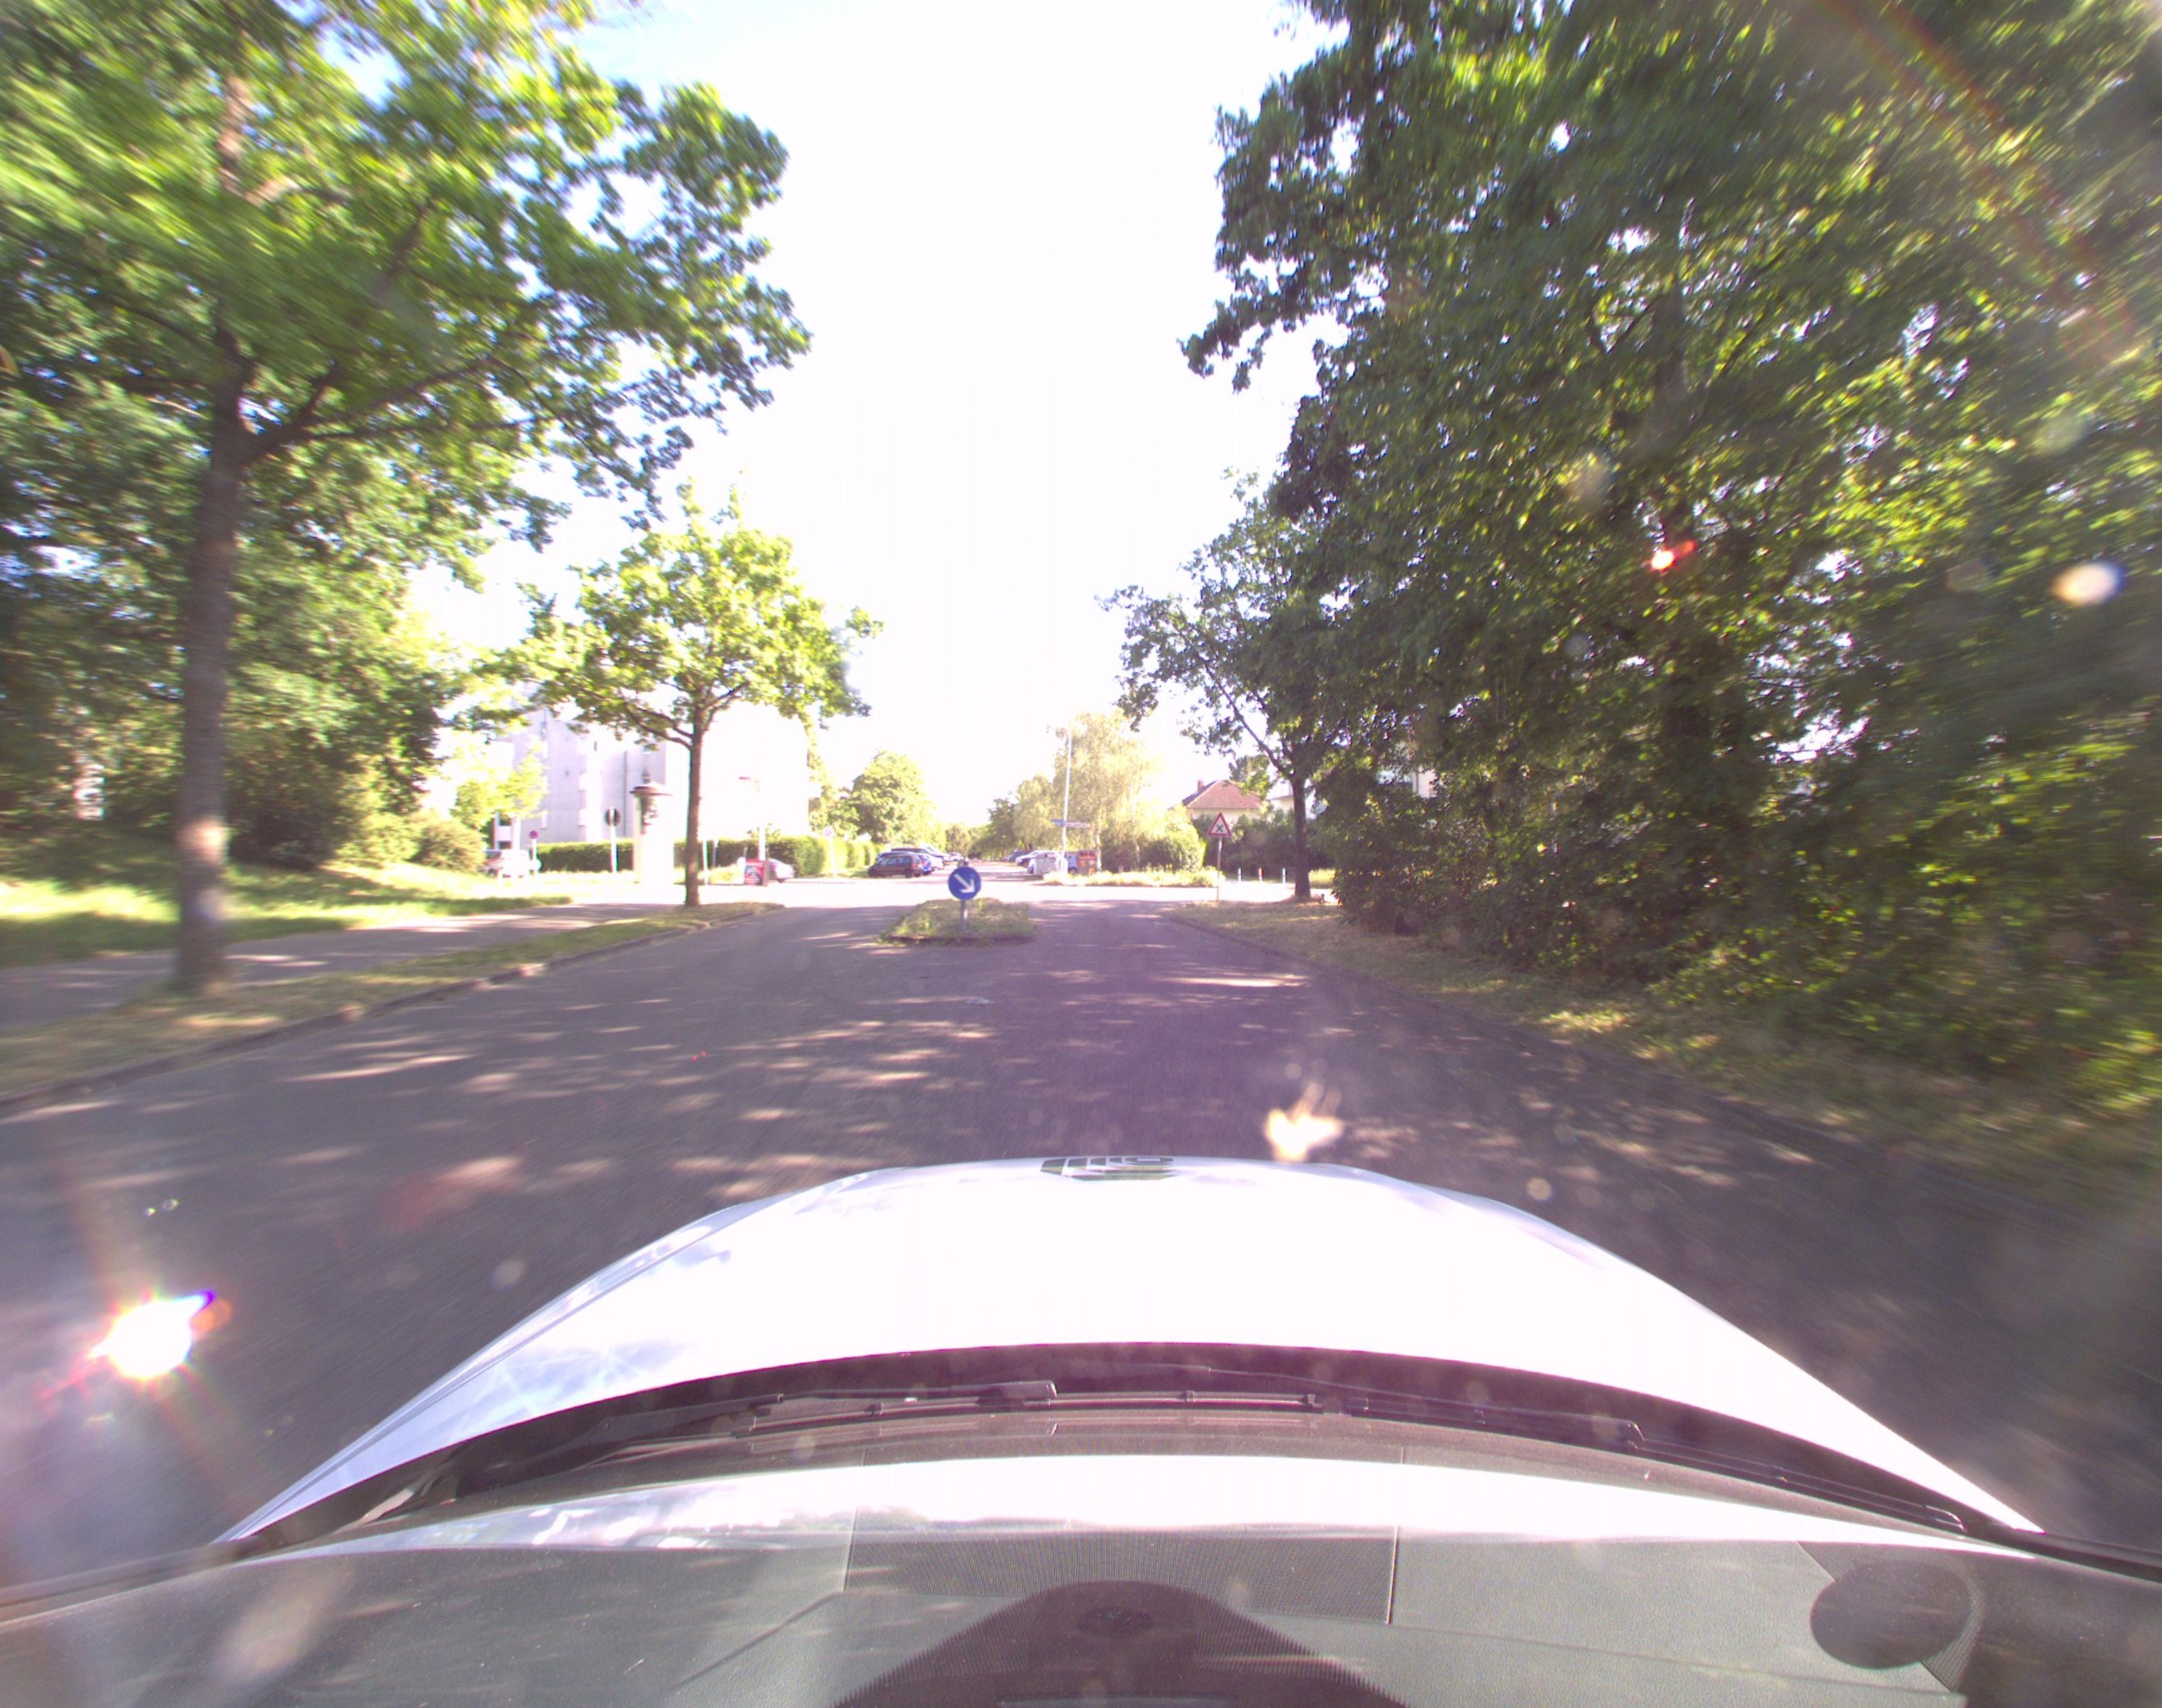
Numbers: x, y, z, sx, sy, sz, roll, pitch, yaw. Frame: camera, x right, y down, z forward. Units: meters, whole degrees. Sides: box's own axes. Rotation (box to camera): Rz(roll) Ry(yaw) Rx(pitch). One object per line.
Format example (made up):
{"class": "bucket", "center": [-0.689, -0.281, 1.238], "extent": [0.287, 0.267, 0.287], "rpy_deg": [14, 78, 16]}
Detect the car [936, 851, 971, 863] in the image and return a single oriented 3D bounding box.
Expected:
{"class": "car", "center": [-14.843, 0.366, 94.958], "extent": [3.936, 1.334, 1.842], "rpy_deg": [0, 0, -8]}

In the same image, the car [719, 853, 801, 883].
{"class": "car", "center": [-18.313, 0.773, 46.470], "extent": [4.032, 1.643, 1.891], "rpy_deg": [0, -1, 16]}

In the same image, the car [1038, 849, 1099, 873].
{"class": "car", "center": [-0.920, 0.478, 58.273], "extent": [4.055, 1.603, 1.784], "rpy_deg": [1, 1, -12]}

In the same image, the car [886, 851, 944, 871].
{"class": "car", "center": [-12.588, 0.515, 61.948], "extent": [4.142, 1.455, 1.614], "rpy_deg": [-1, 0, -9]}

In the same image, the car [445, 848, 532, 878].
{"class": "car", "center": [-38.906, 0.580, 53.486], "extent": [4.899, 1.912, 2.009], "rpy_deg": [0, -1, 17]}

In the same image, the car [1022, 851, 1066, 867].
{"class": "car", "center": [-3.348, 0.476, 73.771], "extent": [3.978, 1.401, 1.795], "rpy_deg": [1, -1, -4]}

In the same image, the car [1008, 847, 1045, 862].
{"class": "car", "center": [-6.074, 0.032, 91.123], "extent": [3.978, 1.585, 1.795], "rpy_deg": [1, -1, -4]}

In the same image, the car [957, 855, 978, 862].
{"class": "car", "center": [-20.119, 0.759, 144.316], "extent": [3.641, 1.212, 1.842], "rpy_deg": [0, 0, -8]}

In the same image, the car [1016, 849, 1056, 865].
{"class": "car", "center": [-4.552, 0.278, 82.866], "extent": [3.978, 1.585, 1.795], "rpy_deg": [1, -1, -4]}

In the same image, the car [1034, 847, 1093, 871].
{"class": "car", "center": [-1.340, 0.392, 61.115], "extent": [4.108, 1.706, 1.783], "rpy_deg": [1, 1, -13]}

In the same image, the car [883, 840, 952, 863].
{"class": "car", "center": [-15.306, -0.214, 76.582], "extent": [6.254, 2.147, 2.404], "rpy_deg": [0, 0, -9]}

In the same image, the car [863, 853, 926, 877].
{"class": "car", "center": [-11.769, 0.675, 51.452], "extent": [3.500, 1.466, 1.709], "rpy_deg": [0, 1, 10]}

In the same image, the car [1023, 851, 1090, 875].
{"class": "car", "center": [-1.559, 0.597, 52.663], "extent": [4.031, 1.439, 1.638], "rpy_deg": [1, 0, 6]}

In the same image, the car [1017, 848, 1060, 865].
{"class": "car", "center": [-3.972, 0.246, 76.580], "extent": [3.978, 1.585, 1.795], "rpy_deg": [1, -1, -4]}

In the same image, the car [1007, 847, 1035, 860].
{"class": "car", "center": [-8.791, -0.072, 119.498], "extent": [3.978, 1.708, 1.795], "rpy_deg": [1, -1, -4]}

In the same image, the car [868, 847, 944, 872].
{"class": "car", "center": [-12.387, 0.398, 57.936], "extent": [4.978, 1.654, 1.783], "rpy_deg": [-1, 0, -2]}

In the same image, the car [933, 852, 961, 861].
{"class": "car", "center": [-18.957, 0.320, 115.293], "extent": [3.936, 1.334, 1.842], "rpy_deg": [0, 0, -8]}

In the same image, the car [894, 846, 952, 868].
{"class": "car", "center": [-13.096, 0.227, 67.745], "extent": [4.510, 1.771, 1.846], "rpy_deg": [0, 0, -2]}

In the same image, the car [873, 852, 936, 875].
{"class": "car", "center": [-11.681, 0.621, 53.990], "extent": [3.661, 1.496, 1.654], "rpy_deg": [-1, 0, 6]}
